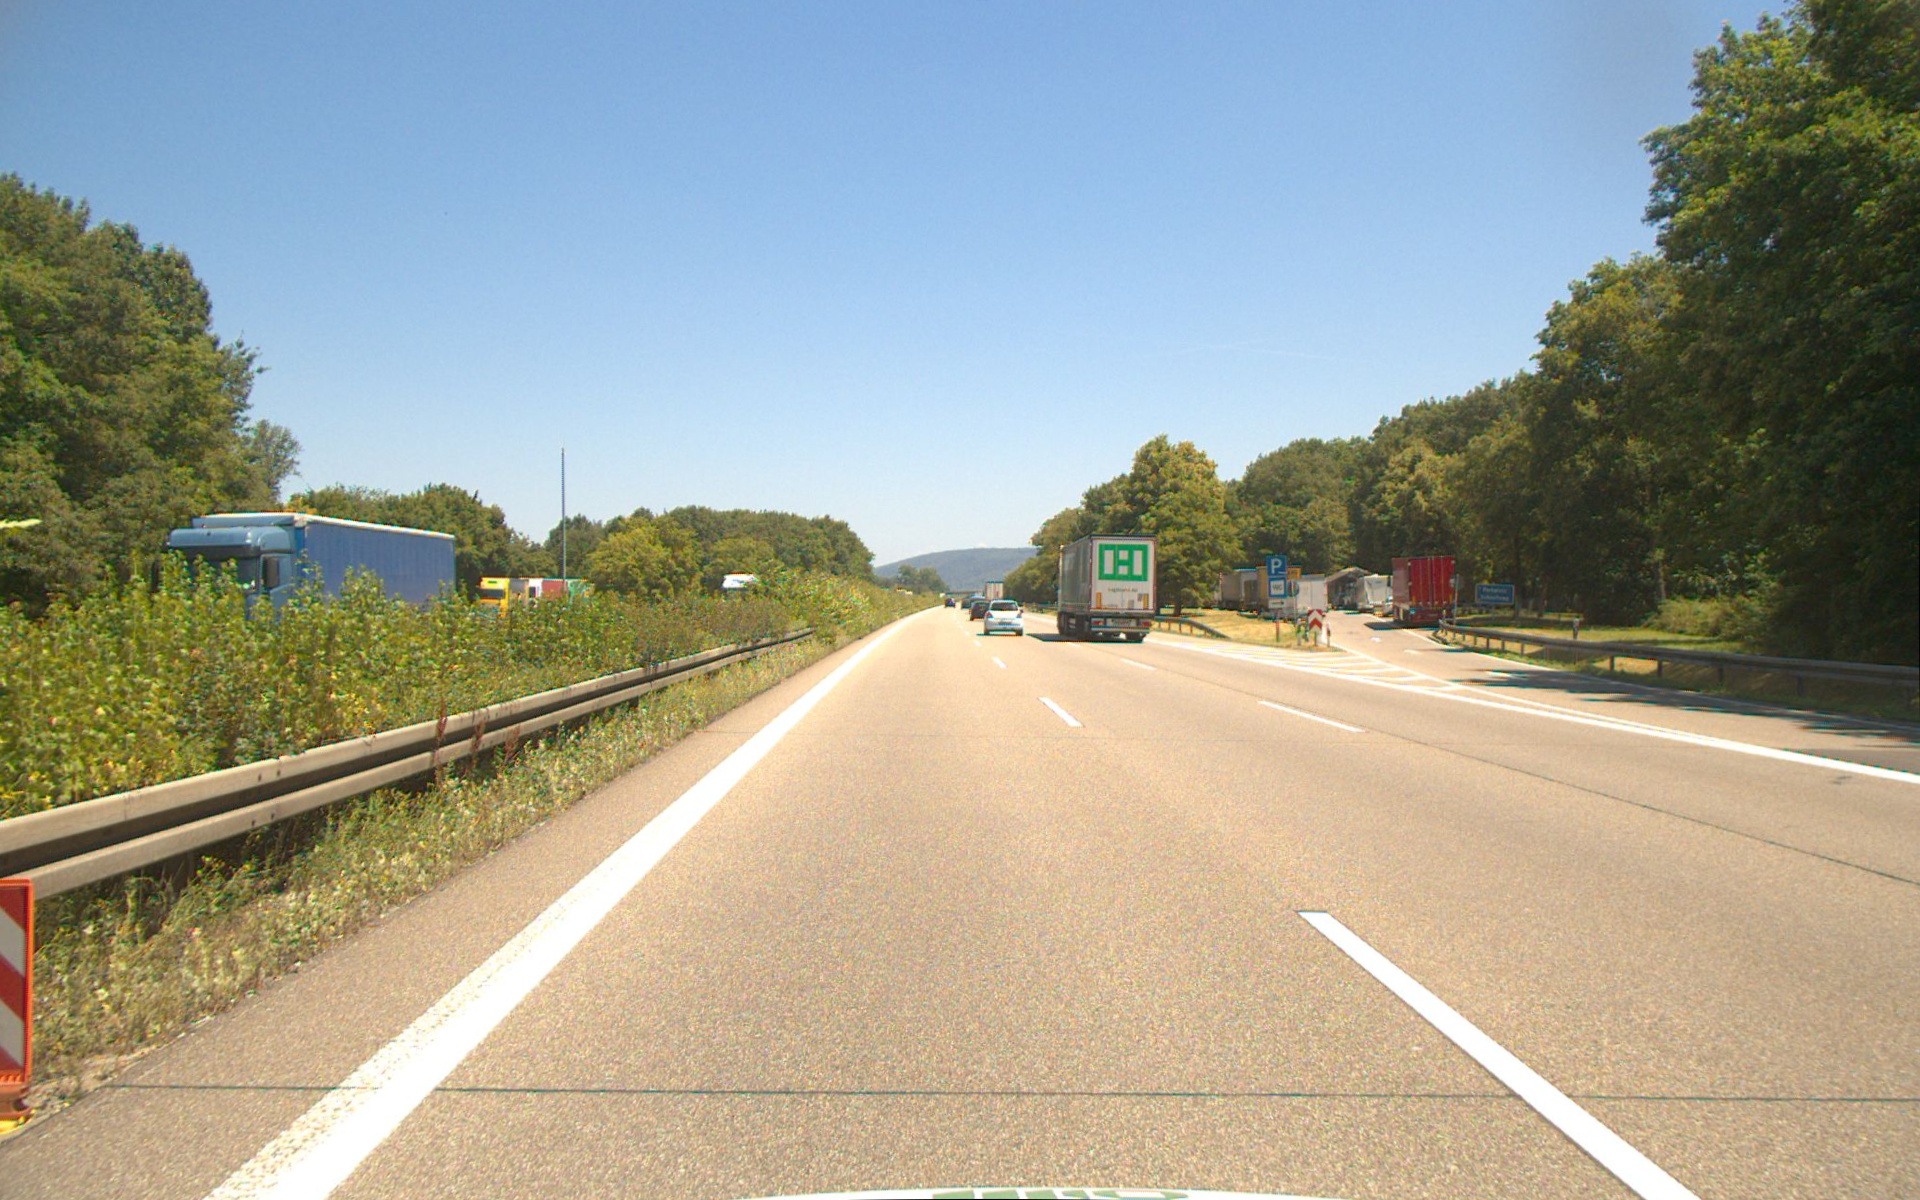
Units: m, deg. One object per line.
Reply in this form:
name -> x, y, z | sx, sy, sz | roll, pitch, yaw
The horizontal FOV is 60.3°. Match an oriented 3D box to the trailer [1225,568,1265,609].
trailer -> 28.544, -1.096, 166.137 | 3.036, 3.856, 13.372 | 1, 0, 6

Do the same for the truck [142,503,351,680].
truck -> -17.400, -0.196, 40.777 | 2.760, 4.041, 5.870 | 0, 0, -2

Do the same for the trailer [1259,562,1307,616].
trailer -> 25.104, -0.796, 128.955 | 3.116, 4.004, 11.560 | 0, 0, 8

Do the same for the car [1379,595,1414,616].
car -> 31.576, 0.373, 119.798 | 1.951, 1.476, 5.038 | 0, 0, 9

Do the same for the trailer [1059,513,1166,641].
trailer -> 6.006, -0.866, 67.271 | 3.117, 4.708, 12.048 | 0, 0, -1

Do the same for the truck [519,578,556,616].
truck -> -46.410, -0.307, 181.843 | 2.560, 4.041, 9.985 | 0, 0, -7

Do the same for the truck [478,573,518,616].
truck -> -44.867, -0.480, 160.732 | 2.561, 4.041, 9.979 | 0, 0, -9

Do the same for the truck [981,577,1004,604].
truck -> 4.779, -1.328, 245.232 | 3.257, 3.822, 12.795 | 1, 0, 0

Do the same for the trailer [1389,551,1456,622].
trailer -> 27.508, -0.772, 98.853 | 2.915, 3.946, 12.899 | 0, 0, 11

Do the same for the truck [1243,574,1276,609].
truck -> 27.705, -0.811, 153.295 | 2.416, 3.140, 6.621 | 1, 0, 5

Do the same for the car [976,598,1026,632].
car -> 1.776, 0.641, 73.120 | 1.777, 1.429, 3.312 | 0, 0, -7

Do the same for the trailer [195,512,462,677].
trailer -> -17.650, -0.152, 47.694 | 2.785, 4.041, 13.802 | 0, 0, -2

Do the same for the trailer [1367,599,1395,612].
trailer -> 32.311, 0.434, 126.949 | 1.737, 0.975, 4.003 | 0, 0, 9

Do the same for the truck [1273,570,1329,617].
truck -> 22.858, -0.418, 111.116 | 2.417, 2.997, 7.661 | 0, 0, 2

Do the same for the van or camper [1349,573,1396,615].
van or camper -> 33.654, -0.474, 135.021 | 2.935, 3.291, 7.006 | 0, 0, 8

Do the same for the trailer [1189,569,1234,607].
trailer -> 28.289, -1.307, 186.800 | 3.070, 4.021, 14.198 | -1, 0, 1

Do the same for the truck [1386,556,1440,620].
truck -> 29.014, -0.789, 106.139 | 2.915, 3.949, 6.423 | 0, 0, 12

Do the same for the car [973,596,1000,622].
car -> 1.989, 0.659, 123.900 | 1.857, 1.926, 4.001 | -1, 0, 3

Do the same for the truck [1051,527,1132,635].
truck -> 5.953, -0.840, 75.902 | 3.117, 4.688, 5.947 | -1, 0, 0

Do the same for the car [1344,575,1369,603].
car -> 35.878, -0.995, 149.783 | 1.951, 2.482, 4.784 | -1, 0, 10

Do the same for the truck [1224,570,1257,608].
truck -> 29.287, -1.094, 172.733 | 3.023, 3.856, 5.320 | 1, 0, 6
